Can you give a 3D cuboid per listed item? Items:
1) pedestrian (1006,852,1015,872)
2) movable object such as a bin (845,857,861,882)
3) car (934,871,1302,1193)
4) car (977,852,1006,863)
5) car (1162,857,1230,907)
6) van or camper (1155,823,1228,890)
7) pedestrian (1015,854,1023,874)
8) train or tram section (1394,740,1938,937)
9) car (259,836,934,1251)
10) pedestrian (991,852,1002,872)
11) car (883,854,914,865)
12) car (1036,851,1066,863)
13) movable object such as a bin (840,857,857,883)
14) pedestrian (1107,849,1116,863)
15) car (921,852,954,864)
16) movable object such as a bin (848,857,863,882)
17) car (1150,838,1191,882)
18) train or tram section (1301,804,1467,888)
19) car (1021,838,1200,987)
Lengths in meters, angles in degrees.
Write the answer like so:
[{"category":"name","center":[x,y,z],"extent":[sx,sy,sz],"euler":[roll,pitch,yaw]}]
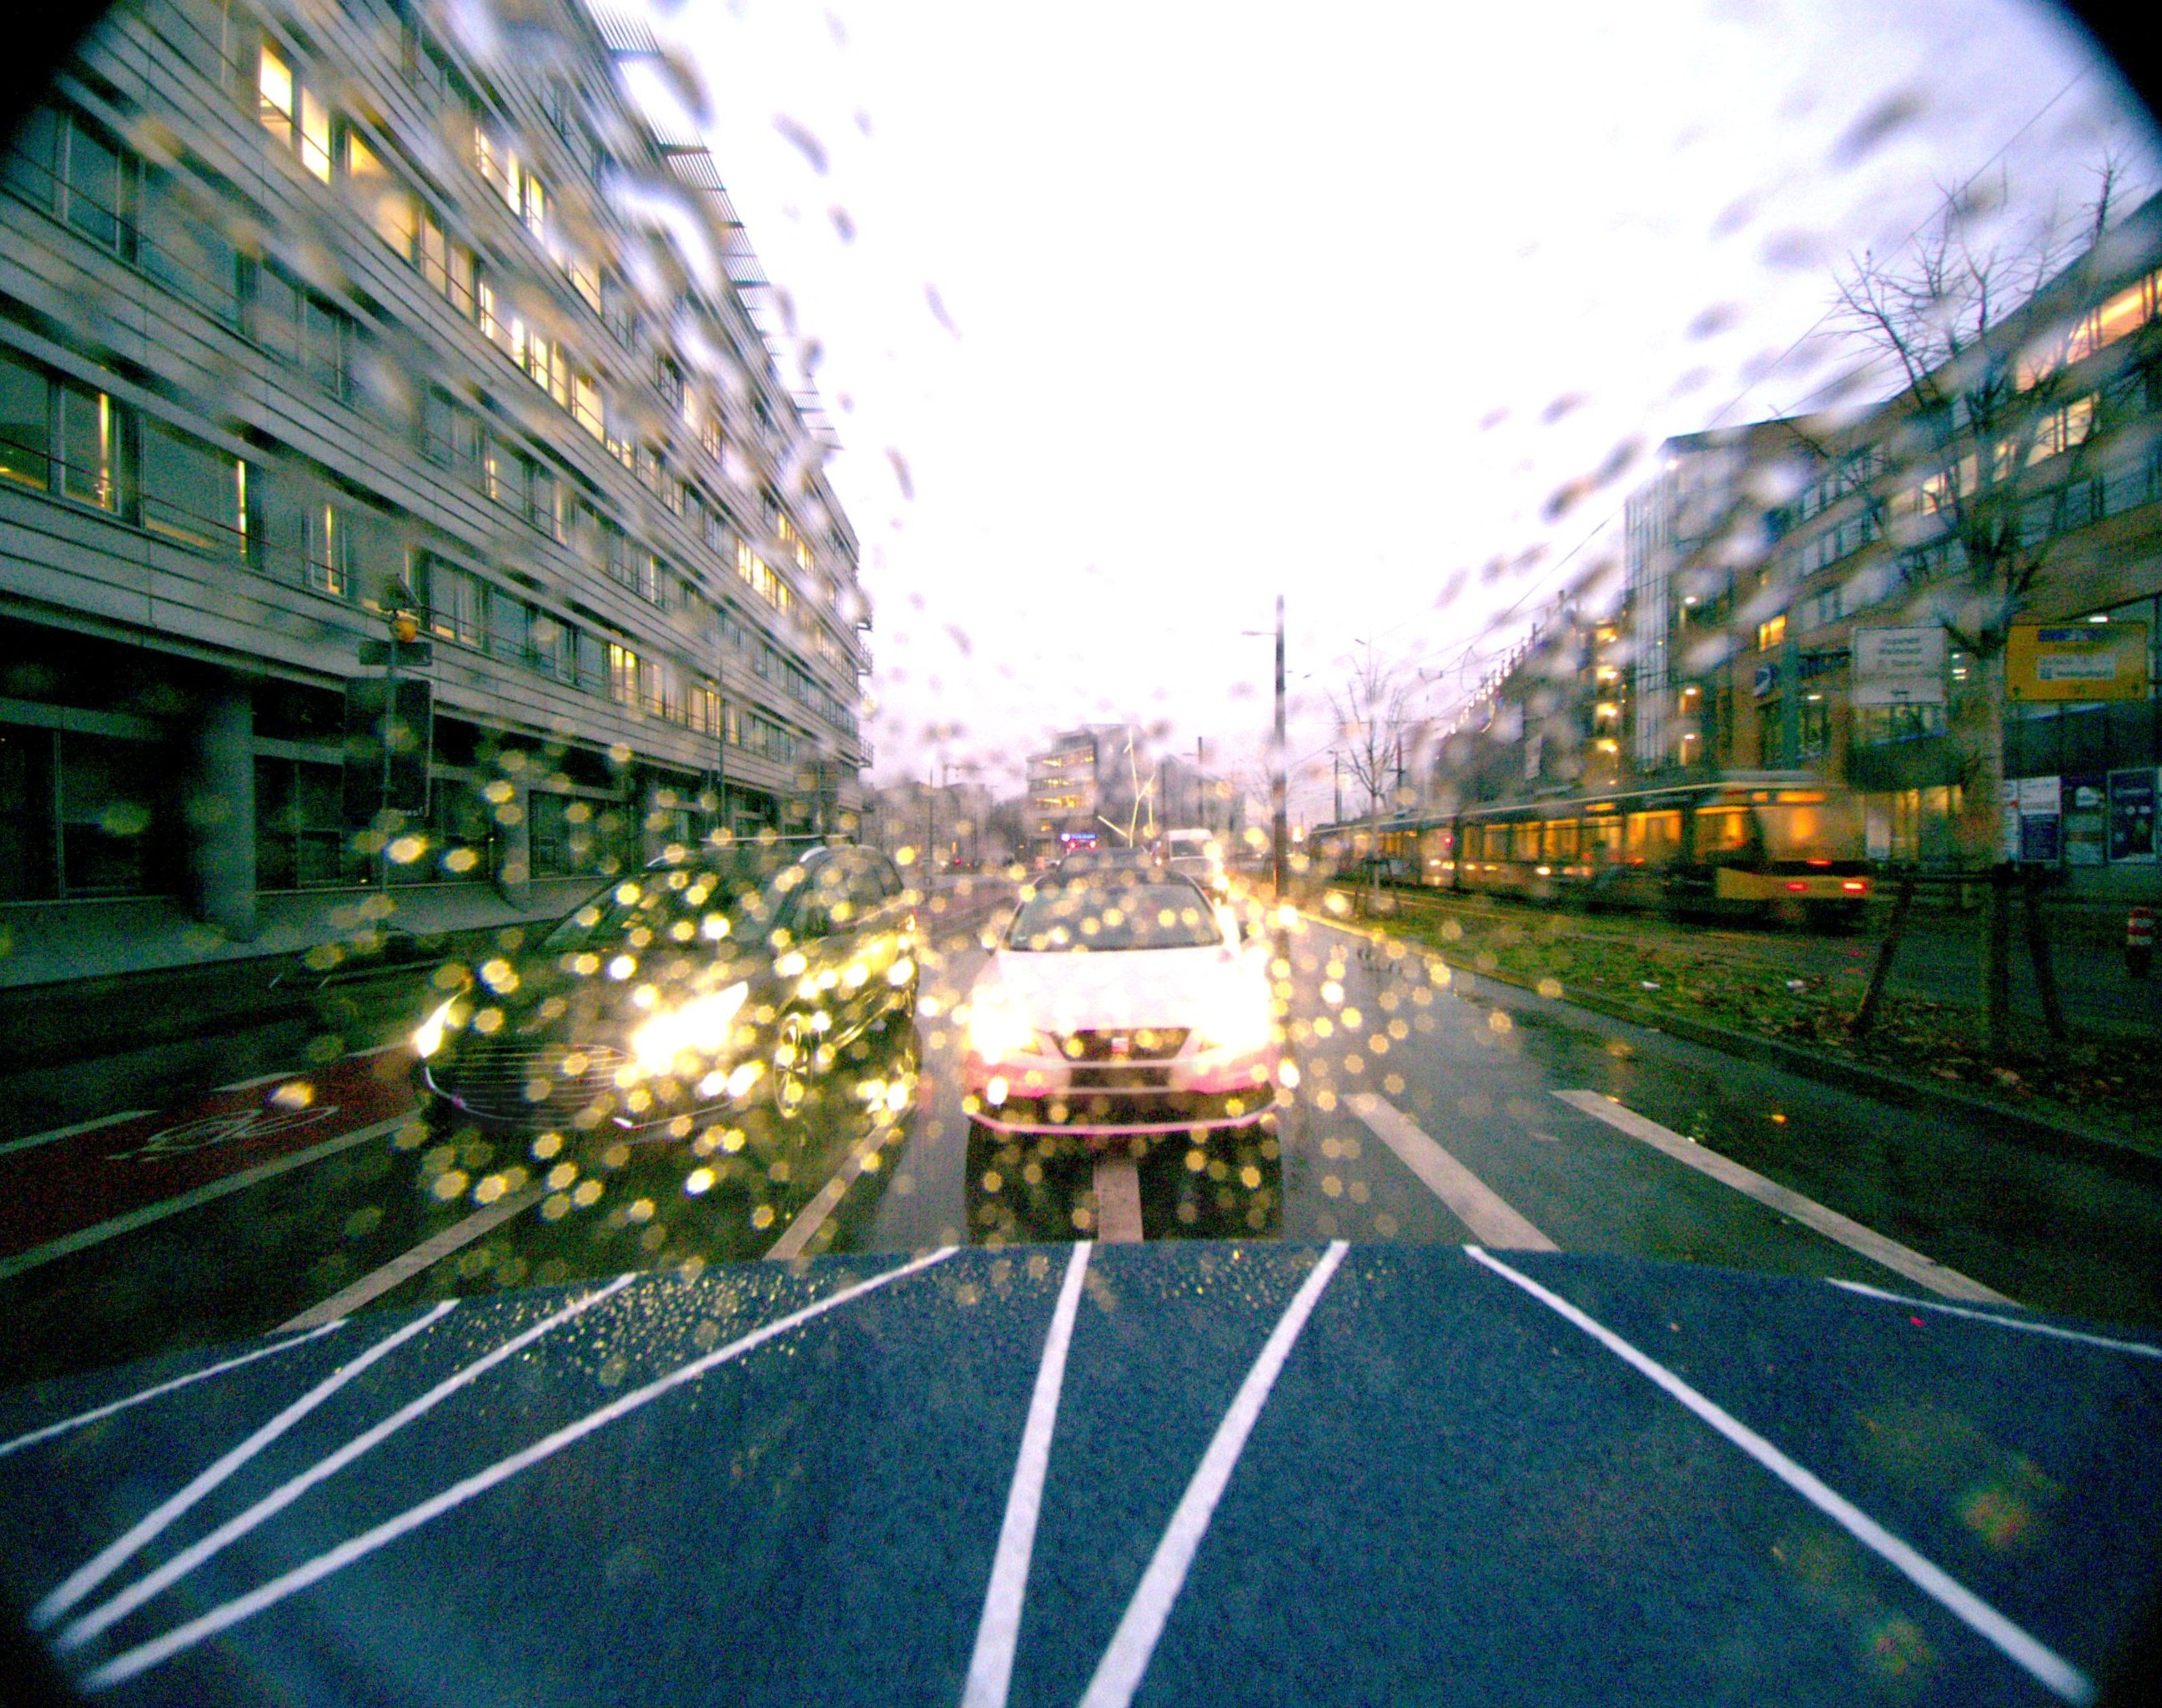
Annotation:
[{"category":"pedestrian","center":[-5.930,0.671,63.787],"extent":[0.651,1.692,0.884],"euler":[1,1,-3]},{"category":"movable object such as a bin","center":[-13.263,0.921,44.282],"extent":[0.666,1.420,0.840],"euler":[-1,1,-2]},{"category":"car","center":[0.206,0.922,5.693],"extent":[1.782,1.464,3.943],"euler":[-1,0,1]},{"category":"car","center":[-13.043,0.559,110.684],"extent":[3.759,1.528,1.782],"euler":[0,0,17]},{"category":"car","center":[3.595,0.831,24.369],"extent":[1.759,1.337,4.056],"euler":[-1,2,3]},{"category":"van or camper","center":[4.510,0.051,31.888],"extent":[2.153,2.517,5.897],"euler":[-1,1,0]},{"category":"pedestrian","center":[-5.233,0.798,63.788],"extent":[0.616,1.659,0.884],"euler":[1,1,-3]},{"category":"train or tram section","center":[14.667,-0.335,23.546],"extent":[2.871,3.593,19.215],"euler":[0,0,3]},{"category":"car","center":[-2.617,0.845,5.715],"extent":[1.887,1.800,4.671],"euler":[-2,0,2]},{"category":"pedestrian","center":[-7.164,0.693,64.383],"extent":[0.747,1.692,0.969],"euler":[2,1,-3]},{"category":"car","center":[-27.864,0.834,116.071],"extent":[3.996,1.663,2.002],"euler":[-1,1,17]},{"category":"car","center":[-4.328,0.402,108.428],"extent":[3.918,1.699,1.782],"euler":[-1,1,14]},{"category":"movable object such as a bin","center":[-13.267,0.907,43.385],"extent":[0.666,1.420,0.840],"euler":[-1,1,-2]},{"category":"pedestrian","center":[3.853,0.268,95.742],"extent":[0.894,1.783,0.667],"euler":[0,1,-16]},{"category":"car","center":[-21.426,0.598,113.710],"extent":[4.368,1.750,2.002],"euler":[-1,1,17]},{"category":"movable object such as a bin","center":[-13.427,0.925,45.211],"extent":[0.666,1.468,0.840],"euler":[-1,1,-2]},{"category":"car","center":[6.139,0.369,52.728],"extent":[2.129,2.847,5.813],"euler":[-1,0,0]},{"category":"train or tram section","center":[16.009,-0.412,42.906],"extent":[2.870,3.593,20.076],"euler":[0,0,4]},{"category":"car","center":[0.392,0.691,11.796],"extent":[2.169,1.744,4.541],"euler":[-3,1,1]}]
